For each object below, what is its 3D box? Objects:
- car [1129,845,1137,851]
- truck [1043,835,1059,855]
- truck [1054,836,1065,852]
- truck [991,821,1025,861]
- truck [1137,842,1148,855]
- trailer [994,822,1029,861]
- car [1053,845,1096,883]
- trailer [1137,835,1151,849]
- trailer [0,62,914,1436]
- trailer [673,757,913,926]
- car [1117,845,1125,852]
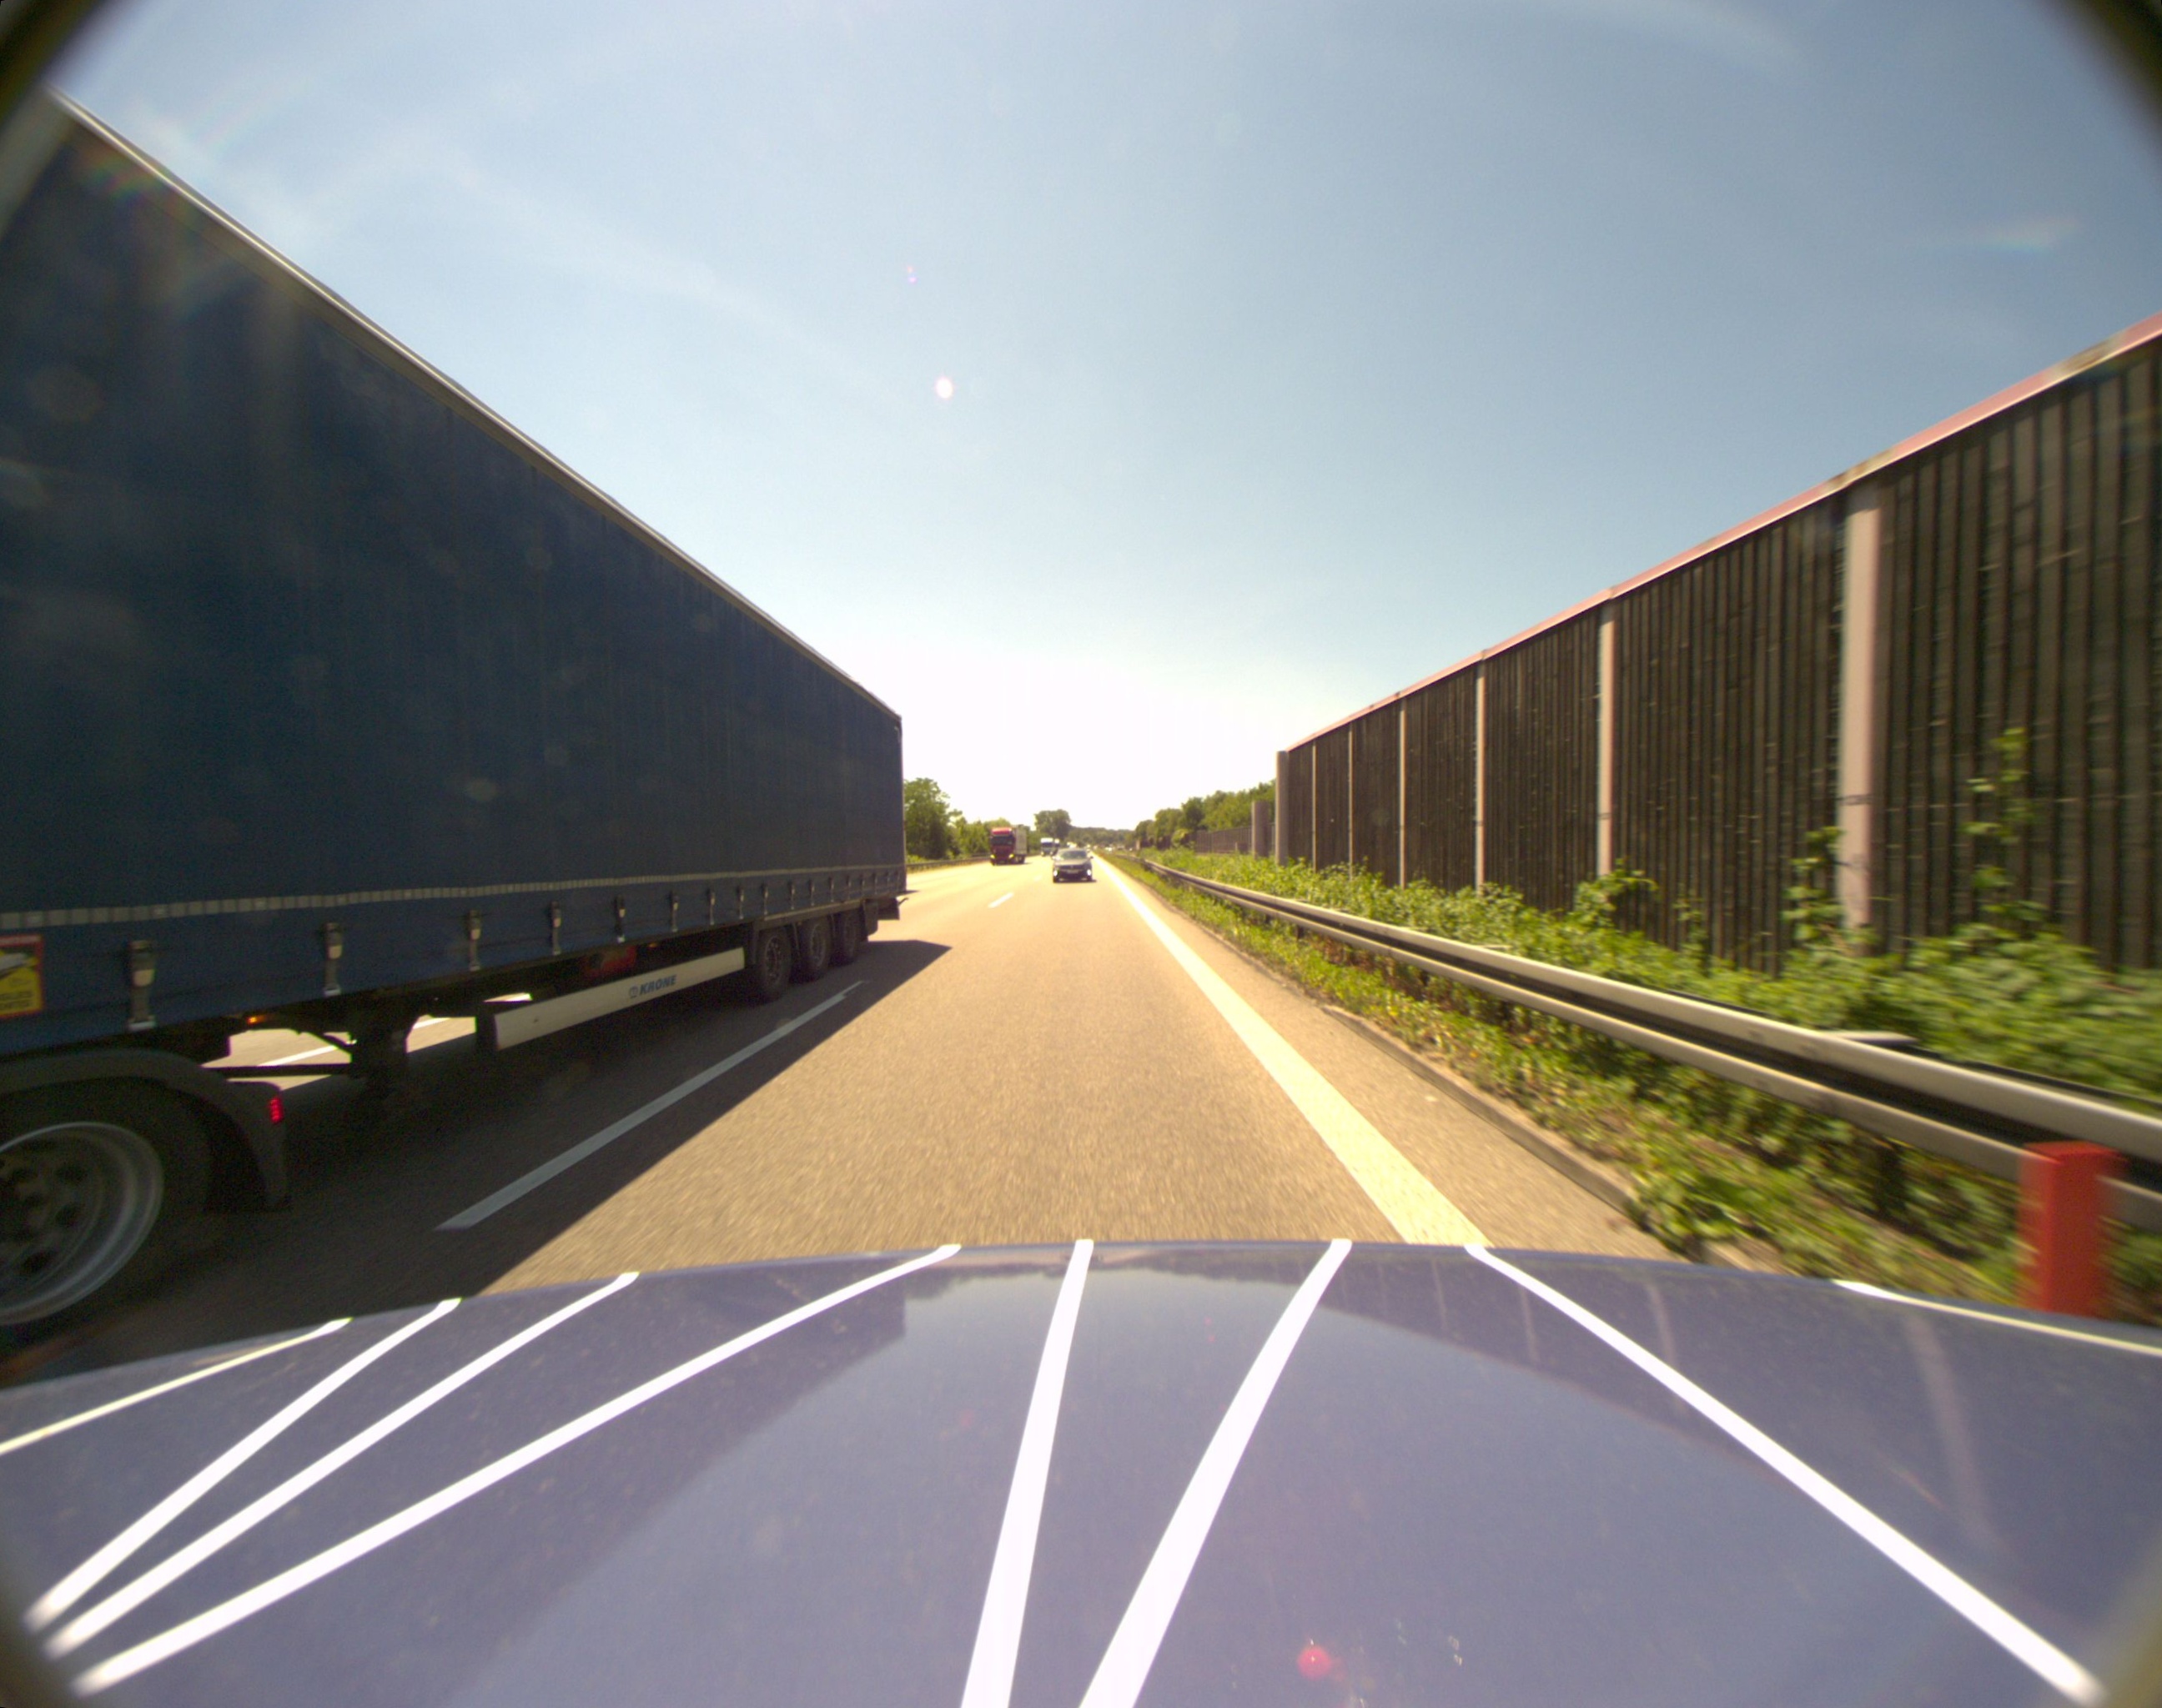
[{"bbox_3d":[14.827,-1.678,217.074,1.885,1.683,4.548,-1,1,-1],"label":"car"},{"bbox_3d":[-6.643,-1.946,169.863,2.992,4.248,9.821,-2,1,-1],"label":"truck"},{"bbox_3d":[-5.657,-2.621,200.286,2.743,3.844,12.463,-2,1,-1],"label":"truck"},{"bbox_3d":[-7.860,-1.374,82.829,2.803,4.094,7.768,-2,1,0],"label":"truck"},{"bbox_3d":[19.465,-1.806,241.643,3.100,3.985,6.190,1,1,1],"label":"truck"},{"bbox_3d":[-7.893,-1.398,87.960,2.803,4.094,12.297,-2,1,0],"label":"trailer"},{"bbox_3d":[-0.322,0.427,36.003,1.885,1.630,5.007,-1,1,-1],"label":"car"},{"bbox_3d":[19.487,-3.690,235.848,3.125,3.985,13.873,1,1,0],"label":"trailer"},{"bbox_3d":[-4.504,-0.394,7.663,2.707,4.094,12.129,-2,1,1],"label":"trailer"},{"bbox_3d":[-8.583,-0.412,25.424,2.707,4.094,13.238,-2,1,1],"label":"trailer"},{"bbox_3d":[10.364,-1.363,195.538,1.787,1.830,4.558,0,1,0],"label":"car"}]
